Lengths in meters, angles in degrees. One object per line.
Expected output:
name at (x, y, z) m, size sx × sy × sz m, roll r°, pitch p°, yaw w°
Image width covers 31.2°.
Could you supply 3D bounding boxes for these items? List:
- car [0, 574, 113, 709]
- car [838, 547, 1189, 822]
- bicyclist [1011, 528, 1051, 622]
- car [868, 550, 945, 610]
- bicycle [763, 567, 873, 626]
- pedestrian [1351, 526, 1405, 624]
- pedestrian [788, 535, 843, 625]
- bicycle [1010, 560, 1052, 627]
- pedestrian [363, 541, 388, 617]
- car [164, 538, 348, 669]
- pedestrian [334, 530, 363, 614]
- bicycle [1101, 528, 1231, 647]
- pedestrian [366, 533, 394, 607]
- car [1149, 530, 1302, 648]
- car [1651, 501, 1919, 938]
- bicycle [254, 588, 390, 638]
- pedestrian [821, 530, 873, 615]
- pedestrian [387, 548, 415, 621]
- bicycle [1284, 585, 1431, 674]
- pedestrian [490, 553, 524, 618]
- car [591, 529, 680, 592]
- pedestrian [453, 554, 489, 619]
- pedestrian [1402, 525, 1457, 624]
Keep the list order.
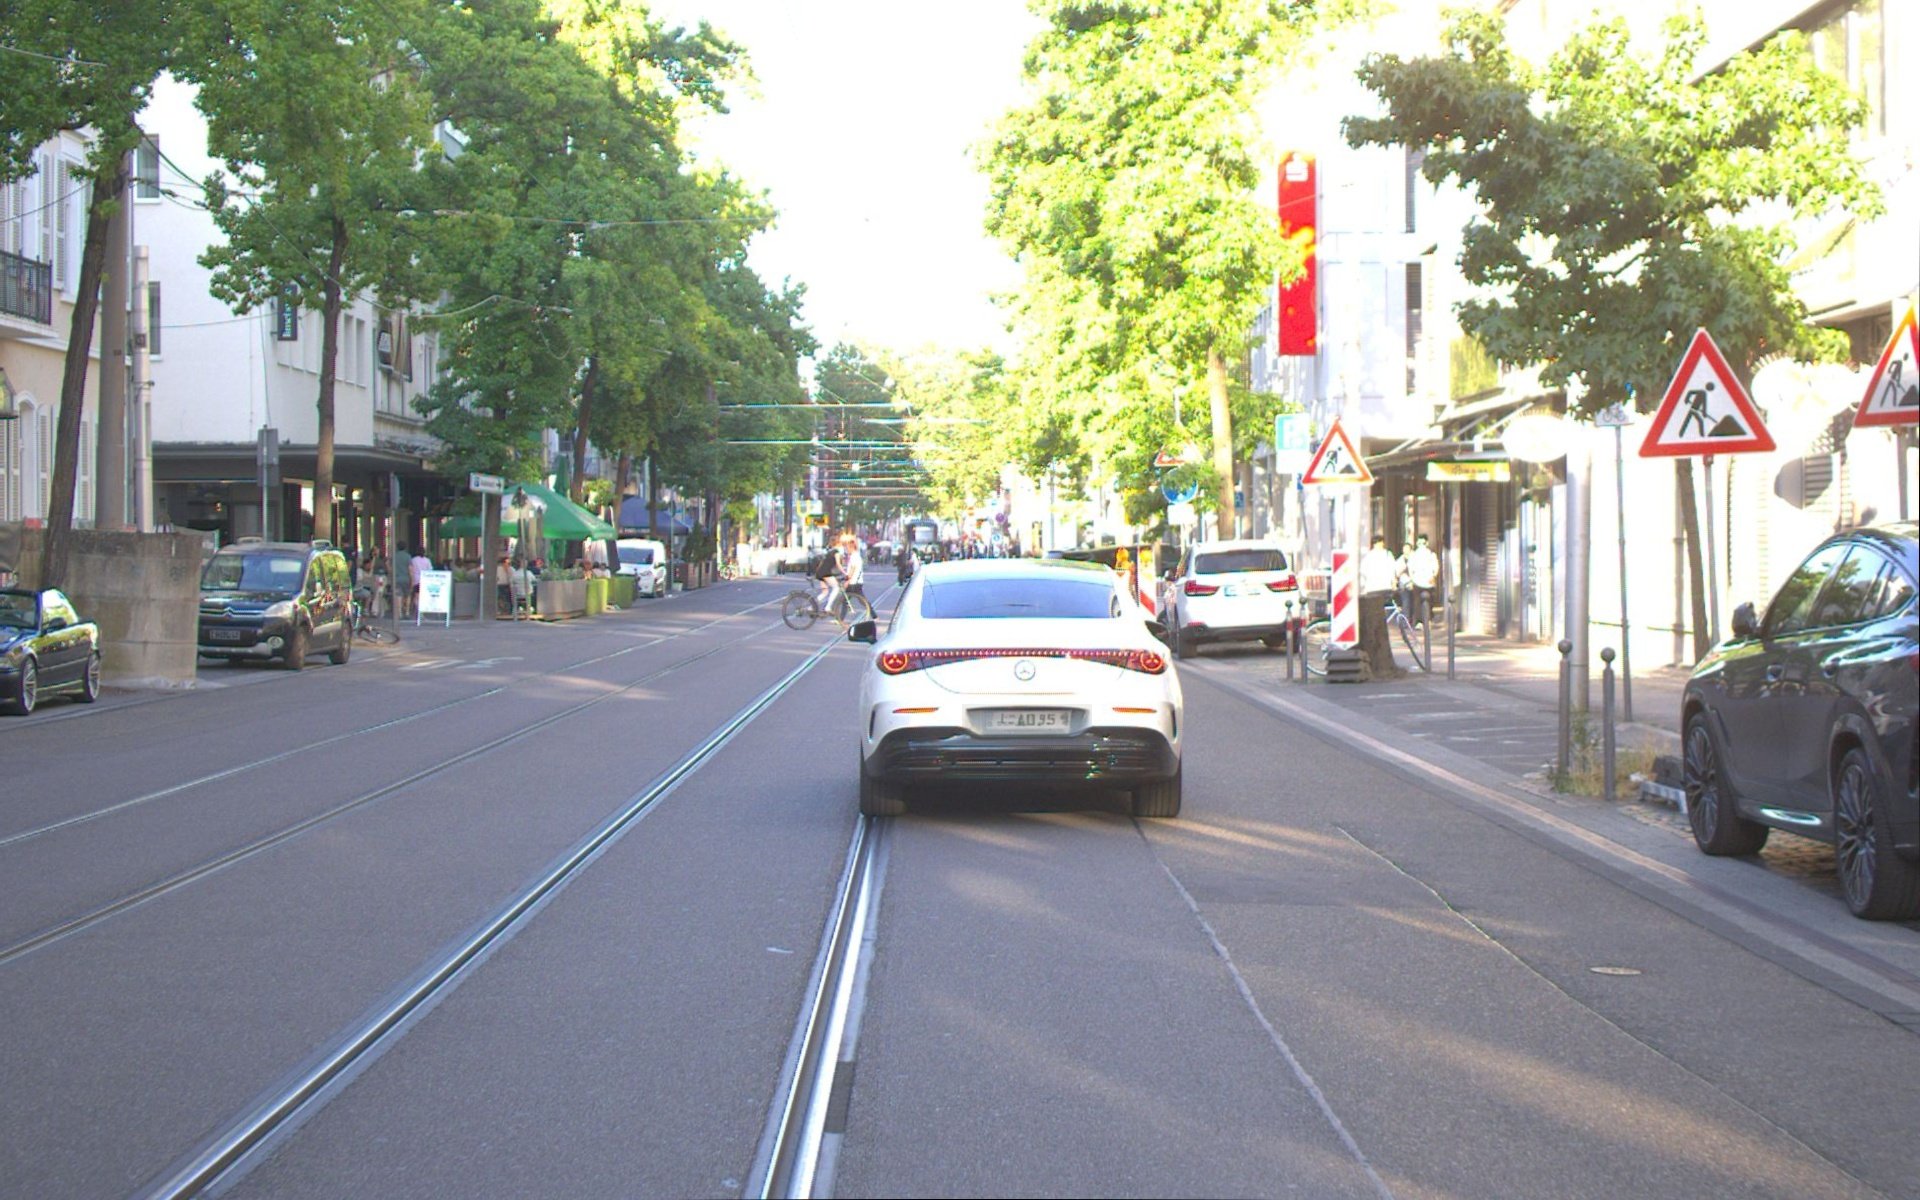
car at (-10.248, 0.392, 35.621) m, size 1.993 × 1.287 × 4.000 m, roll 0°, pitch 1°, yaw 0°
car at (0.218, 0.421, 20.495) m, size 1.868 × 1.464 × 4.043 m, roll 0°, pitch 1°, yaw -2°
bicyclist at (1.294, -0.463, 62.594) m, size 0.724 × 1.697 × 0.811 m, roll 0°, pitch 0°, yaw 1°
car at (-2.827, -1.061, 183.572) m, size 4.038 × 3.103 × 8.431 m, roll 0°, pitch 0°, yaw -1°
bicycle at (-2.814, -0.075, 68.072) m, size 2.047 × 1.132 × 0.874 m, roll 0°, pitch 1°, yaw -14°
pedestrian at (7.544, -0.458, 62.076) m, size 0.799 × 1.768 × 0.683 m, roll 0°, pitch 1°, yaw -12°
pedestrian at (-2.870, -0.399, 68.061) m, size 0.919 × 1.768 × 0.874 m, roll 0°, pitch 1°, yaw -14°
bicycle at (1.286, -0.127, 62.579) m, size 0.740 × 1.184 × 2.160 m, roll 0°, pitch 0°, yaw 1°
pedestrian at (-13.770, -0.490, 80.957) m, size 0.517 × 1.775 × 0.609 m, roll 0°, pitch 1°, yaw -4°
car at (-9.931, 0.025, 48.686) m, size 1.553 × 1.789 × 3.166 m, roll 0°, pitch 1°, yaw 8°
pedestrian at (-13.594, -0.625, 76.459) m, size 0.517 × 1.849 × 0.650 m, roll 0°, pitch 1°, yaw -1°
bicycle at (3.597, -0.228, 60.641) m, size 1.993 × 2.007 × 4.000 m, roll 0°, pitch 0°, yaw 0°
pedestrian at (-12.984, -0.679, 76.919) m, size 0.517 × 1.647 × 0.650 m, roll 0°, pitch 1°, yaw -1°
car at (4.021, -0.194, 52.644) m, size 1.993 × 1.722 × 4.241 m, roll 0°, pitch 1°, yaw 0°
car at (4.696, 0.423, 15.876) m, size 1.993 × 1.707 × 4.867 m, roll 0°, pitch 1°, yaw -1°
bicycle at (-10.930, 0.216, 58.888) m, size 2.255 × 0.827 × 0.716 m, roll 0°, pitch 1°, yaw 22°
pedestrian at (-2.363, -0.578, 72.086) m, size 0.919 × 1.768 × 0.874 m, roll 0°, pitch 1°, yaw -14°
pedestrian at (-12.362, -0.342, 76.055) m, size 0.517 × 1.610 × 0.650 m, roll 0°, pitch 1°, yaw -1°
bicycle at (4.791, 0.353, 41.506) m, size 1.723 × 1.058 × 0.581 m, roll 0°, pitch 1°, yaw 3°
pedestrian at (-10.532, -0.338, 79.877) m, size 0.517 × 1.473 × 0.650 m, roll -3°, pitch 0°, yaw -27°
car at (-10.475, -1.292, 111.367) m, size 1.994 × 2.007 × 3.999 m, roll 0°, pitch 1°, yaw 8°
pedestrian at (-11.150, -0.308, 78.404) m, size 0.569 × 1.459 × 0.649 m, roll 0°, pitch 1°, yaw 19°
pedestrian at (8.468, -0.464, 62.009) m, size 0.799 × 1.768 × 0.683 m, roll 0°, pitch 1°, yaw -12°
